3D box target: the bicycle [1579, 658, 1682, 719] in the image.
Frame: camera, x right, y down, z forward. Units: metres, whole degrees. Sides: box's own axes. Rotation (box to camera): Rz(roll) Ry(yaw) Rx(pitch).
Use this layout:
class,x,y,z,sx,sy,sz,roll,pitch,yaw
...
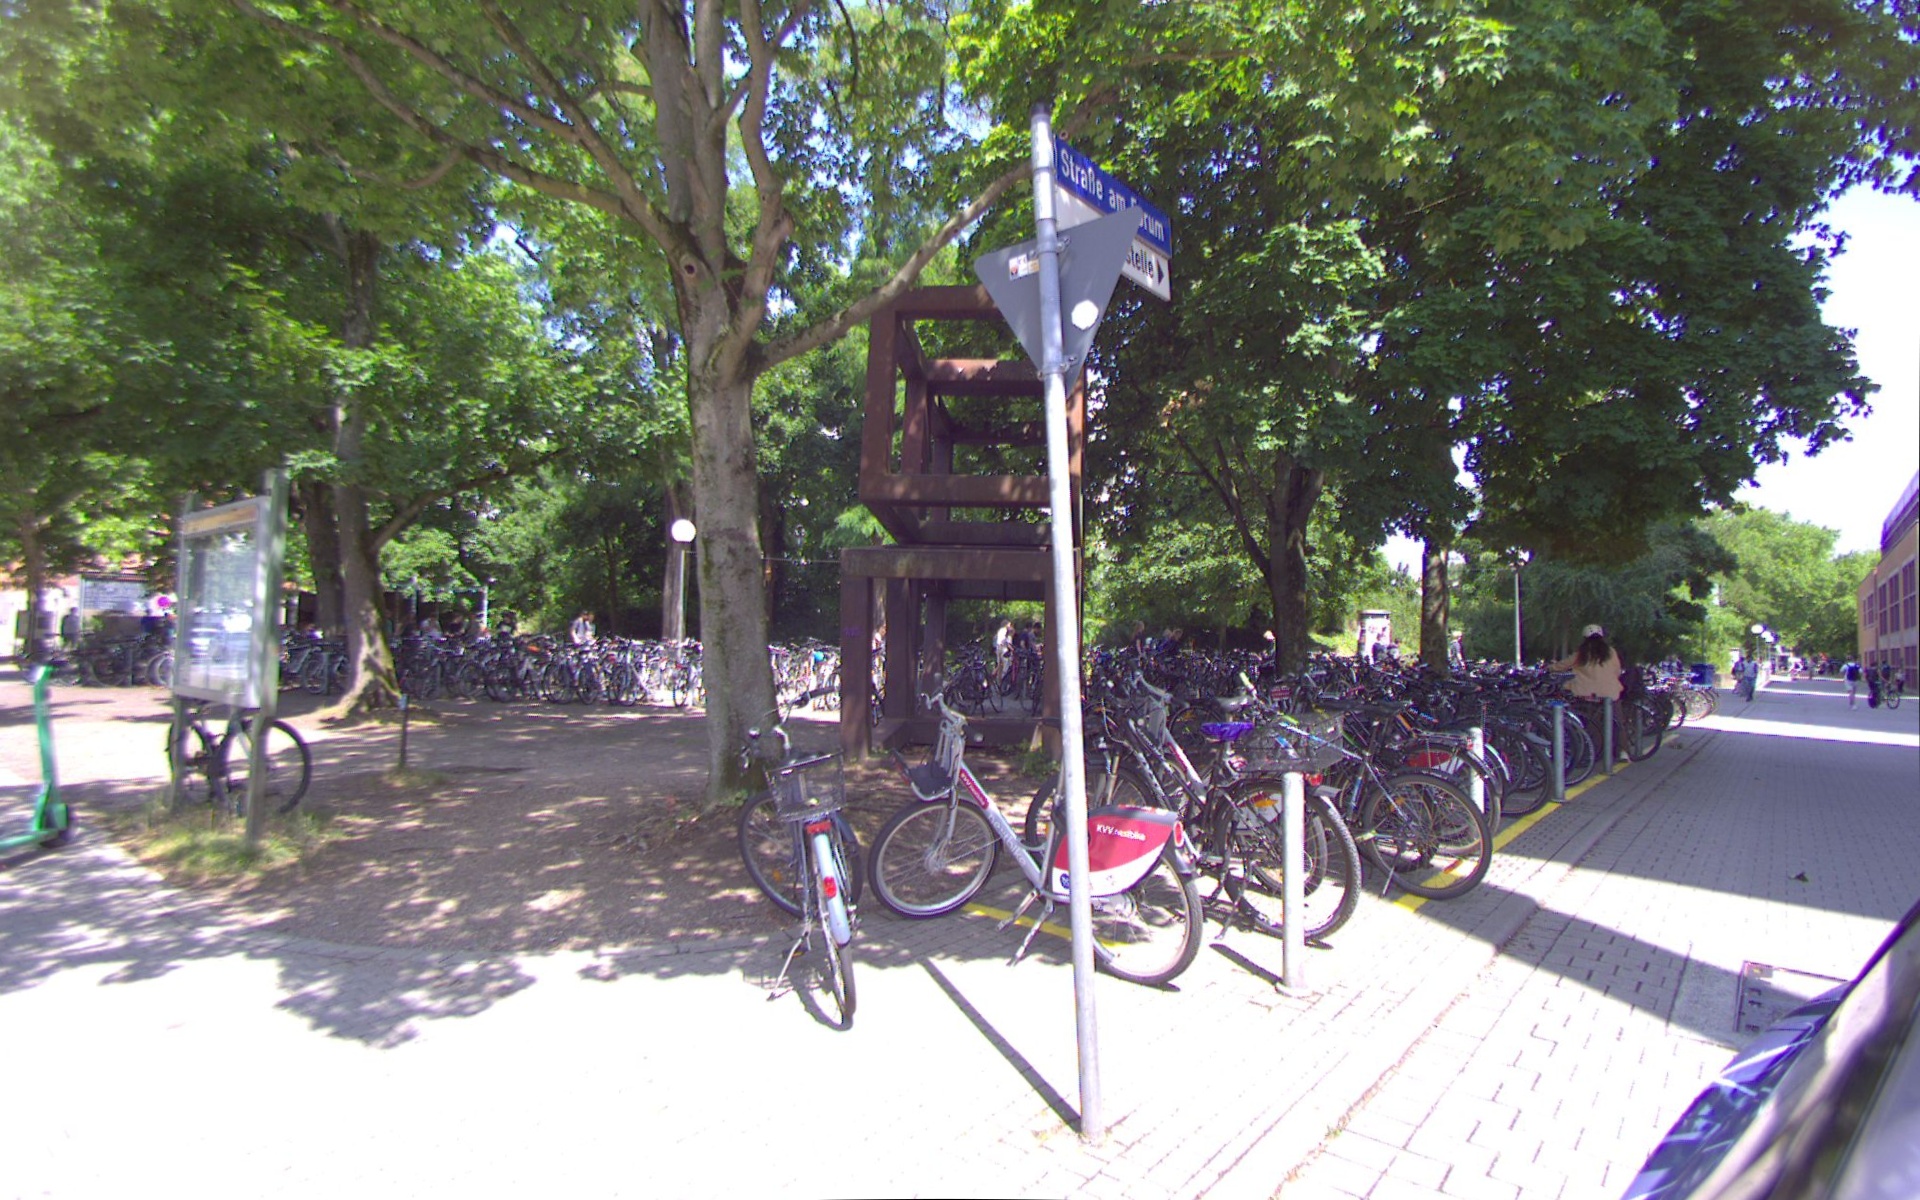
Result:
class,x,y,z,sx,sy,sz,roll,pitch,yaw
bicycle,13.267,1.740,20.044,1.678,1.098,0.472,1,-5,36

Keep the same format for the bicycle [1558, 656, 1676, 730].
class,x,y,z,sx,sy,sz,roll,pitch,yaw
bicycle,11.283,1.586,17.413,1.678,1.144,0.472,1,-5,36

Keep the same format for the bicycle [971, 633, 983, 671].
class,x,y,z,sx,sy,sz,roll,pitch,yaw
bicycle,0.517,1.556,30.619,0.342,1.107,1.609,0,-2,2

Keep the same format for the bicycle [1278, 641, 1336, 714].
class,x,y,z,sx,sy,sz,roll,pitch,yaw
bicycle,6.024,1.318,17.648,0.406,1.185,1.844,1,-2,1

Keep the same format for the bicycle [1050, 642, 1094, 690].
class,x,y,z,sx,sy,sz,roll,pitch,yaw
bicycle,2.469,1.433,22.423,0.469,0.991,1.906,0,-2,-9

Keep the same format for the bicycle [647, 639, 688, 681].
class,x,y,z,sx,sy,sz,roll,pitch,yaw
bicycle,-7.491,1.521,25.975,0.469,0.991,1.902,0,-2,1

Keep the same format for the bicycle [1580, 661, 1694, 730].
class,x,y,z,sx,sy,sz,roll,pitch,yaw
bicycle,12.084,1.687,18.092,1.678,1.098,0.472,1,-5,36

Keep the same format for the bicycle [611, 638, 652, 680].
class,x,y,z,sx,sy,sz,roll,pitch,yaw
bicycle,-8.237,1.474,25.454,0.371,0.991,1.903,0,-2,1

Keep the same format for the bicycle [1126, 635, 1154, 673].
class,x,y,z,sx,sy,sz,roll,pitch,yaw
bicycle,5.496,1.625,30.945,0.341,1.107,1.613,0,-2,-9

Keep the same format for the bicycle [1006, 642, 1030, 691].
class,x,y,z,sx,sy,sz,roll,pitch,yaw
bicycle,1.265,1.444,22.304,0.470,0.991,1.902,0,-2,2

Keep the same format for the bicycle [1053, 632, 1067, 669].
class,x,y,z,sx,sy,sz,roll,pitch,yaw
bicycle,3.080,1.547,31.187,0.342,1.107,1.609,0,-2,2

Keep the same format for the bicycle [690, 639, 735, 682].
class,x,y,z,sx,sy,sz,roll,pitch,yaw
bicycle,-6.182,1.493,25.365,0.372,0.991,1.898,0,-2,10

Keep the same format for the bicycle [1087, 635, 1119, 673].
class,x,y,z,sx,sy,sz,roll,pitch,yaw
bicycle,4.368,1.631,30.956,0.341,1.107,1.614,1,-2,-16

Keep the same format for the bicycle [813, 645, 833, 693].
class,x,y,z,sx,sy,sz,roll,pitch,yaw
bicycle,-3.037,1.497,22.321,0.371,0.991,1.906,0,-2,-10

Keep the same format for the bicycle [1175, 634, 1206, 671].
class,x,y,z,sx,sy,sz,roll,pitch,yaw
bicycle,7.124,1.613,31.307,0.341,1.107,1.613,0,-2,-9

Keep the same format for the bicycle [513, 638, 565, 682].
class,x,y,z,sx,sy,sz,roll,pitch,yaw
bicycle,-9.945,1.398,23.986,0.469,0.991,1.904,0,-2,-1

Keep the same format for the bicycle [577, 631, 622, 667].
class,x,y,z,sx,sy,sz,roll,pitch,yaw
bicycle,-11.583,1.564,32.586,0.471,1.107,1.745,0,-2,14

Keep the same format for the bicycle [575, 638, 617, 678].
class,x,y,z,sx,sy,sz,roll,pitch,yaw
bicycle,-9.371,1.477,26.106,0.371,0.991,1.903,0,-2,1

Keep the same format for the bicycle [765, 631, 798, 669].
class,x,y,z,sx,sy,sz,roll,pitch,yaw
bicycle,-5.480,1.521,31.144,0.471,1.107,1.605,0,-2,11

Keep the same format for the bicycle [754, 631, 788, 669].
class,x,y,z,sx,sy,sz,roll,pitch,yaw
bicycle,-5.822,1.523,31.207,0.471,1.107,1.605,0,-2,11

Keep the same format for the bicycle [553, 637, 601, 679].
class,x,y,z,sx,sy,sz,roll,pitch,yaw
bicycle,-9.818,1.471,26.009,0.469,0.991,1.903,0,-2,1

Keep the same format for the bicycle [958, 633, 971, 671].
class,x,y,z,sx,sy,sz,roll,pitch,yaw
bicycle,0.140,1.557,30.662,0.342,1.107,1.609,0,-2,2

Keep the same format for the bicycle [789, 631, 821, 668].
class,x,y,z,sx,sy,sz,roll,pitch,yaw
bicycle,-4.779,1.516,31.274,0.471,1.107,1.605,0,-2,11

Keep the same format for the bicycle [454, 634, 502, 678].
class,x,y,z,sx,sy,sz,roll,pitch,yaw
bicycle,-11.461,1.320,24.116,0.469,0.991,1.906,0,-2,-8

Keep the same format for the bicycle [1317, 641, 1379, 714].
class,x,y,z,sx,sy,sz,roll,pitch,yaw
bicycle,6.730,1.313,17.633,0.406,1.185,1.844,1,-2,1

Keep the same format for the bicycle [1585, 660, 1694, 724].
class,x,y,z,sx,sy,sz,roll,pitch,yaw
bicycle,12.922,1.736,19.287,1.672,1.098,0.474,1,-4,27

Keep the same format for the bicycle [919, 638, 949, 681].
class,x,y,z,sx,sy,sz,roll,pitch,yaw
bicycle,-0.629,1.428,24.636,0.372,0.991,1.898,0,-2,10

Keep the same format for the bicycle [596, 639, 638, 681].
class,x,y,z,sx,sy,sz,roll,pitch,yaw
bicycle,-8.642,1.488,25.535,0.371,0.991,1.903,0,-2,1

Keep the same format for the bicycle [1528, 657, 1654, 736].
class,x,y,z,sx,sy,sz,roll,pitch,yaw
bicycle,10.074,1.524,16.190,1.678,1.144,0.448,1,-5,36

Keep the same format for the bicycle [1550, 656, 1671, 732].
class,x,y,z,sx,sy,sz,roll,pitch,yaw
bicycle,10.882,1.553,16.956,1.678,1.144,0.472,1,-5,36

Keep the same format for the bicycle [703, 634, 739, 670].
class,x,y,z,sx,sy,sz,roll,pitch,yaw
bicycle,-7.462,1.611,31.679,0.471,1.107,1.605,0,-2,11

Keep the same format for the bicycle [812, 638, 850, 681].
class,x,y,z,sx,sy,sz,roll,pitch,yaw
bicycle,-3.148,1.434,24.837,0.372,0.991,1.898,0,-2,10

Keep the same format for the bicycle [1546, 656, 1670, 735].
class,x,y,z,sx,sy,sz,roll,pitch,yaw
bicycle,10.536,1.538,16.492,1.678,1.144,0.472,1,-5,36

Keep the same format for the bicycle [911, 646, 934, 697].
class,x,y,z,sx,sy,sz,roll,pitch,yaw
bicycle,-0.820,1.543,22.267,0.469,1.036,1.742,0,-2,-1

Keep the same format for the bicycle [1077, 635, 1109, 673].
class,x,y,z,sx,sy,sz,roll,pitch,yaw
bicycle,4.041,1.634,30.850,0.341,1.107,1.614,1,-2,-16

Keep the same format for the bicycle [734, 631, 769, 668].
class,x,y,z,sx,sy,sz,roll,pitch,yaw
bicycle,-6.469,1.520,31.440,0.471,1.107,1.605,0,-2,11

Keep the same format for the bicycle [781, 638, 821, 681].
class,x,y,z,sx,sy,sz,roll,pitch,yaw
bicycle,-3.881,1.441,24.789,0.372,0.991,1.898,0,-2,10

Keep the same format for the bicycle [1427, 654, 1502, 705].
class,x,y,z,sx,sy,sz,roll,pitch,yaw
bicycle,11.586,1.804,23.295,0.468,1.098,1.691,4,-4,-18

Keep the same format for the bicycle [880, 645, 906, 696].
class,x,y,z,sx,sy,sz,roll,pitch,yaw
bicycle,-1.479,1.542,22.455,0.469,1.036,1.742,0,-2,-1

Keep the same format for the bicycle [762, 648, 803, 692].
class,x,y,z,sx,sy,sz,roll,pitch,yaw
bicycle,-4.344,1.695,24.852,0.372,0.991,1.898,0,-2,10

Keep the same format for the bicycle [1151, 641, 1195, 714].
class,x,y,z,sx,sy,sz,roll,pitch,yaw
bicycle,3.751,1.333,17.883,0.406,1.185,1.844,1,-2,1

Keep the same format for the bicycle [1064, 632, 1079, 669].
class,x,y,z,sx,sy,sz,roll,pitch,yaw
bicycle,3.427,1.546,31.168,0.342,1.107,1.609,0,-2,2

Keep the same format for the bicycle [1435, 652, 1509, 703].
class,x,y,z,sx,sy,sz,roll,pitch,yaw
bicycle,11.961,1.798,23.680,0.468,1.098,1.691,4,-4,-18

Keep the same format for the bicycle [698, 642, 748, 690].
class,x,y,z,sx,sy,sz,roll,pitch,yaw
bicycle,-5.271,1.456,22.636,0.372,0.991,1.898,0,-2,10

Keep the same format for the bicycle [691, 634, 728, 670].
class,x,y,z,sx,sy,sz,roll,pitch,yaw
bicycle,-7.837,1.613,31.701,0.471,1.107,1.605,0,-2,11

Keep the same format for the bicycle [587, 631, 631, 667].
class,x,y,z,sx,sy,sz,roll,pitch,yaw
bicycle,-11.250,1.563,32.501,0.471,1.107,1.745,0,-2,14

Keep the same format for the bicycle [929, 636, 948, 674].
class,x,y,z,sx,sy,sz,roll,pitch,yaw
bicycle,-0.636,1.650,30.565,0.470,1.107,1.609,0,-2,2

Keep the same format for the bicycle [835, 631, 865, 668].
class,x,y,z,sx,sy,sz,roll,pitch,yaw
bicycle,-3.363,1.509,31.026,0.471,1.107,1.605,0,-2,11

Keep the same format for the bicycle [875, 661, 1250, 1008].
class,x,y,z,sx,sy,sz,roll,pitch,yaw
bicycle,0.379,0.856,4.206,1.481,1.156,0.554,-2,-2,38

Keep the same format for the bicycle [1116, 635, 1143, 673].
class,x,y,z,sx,sy,sz,roll,pitch,yaw
bicycle,5.160,1.627,30.894,0.341,1.107,1.613,0,-2,-9
